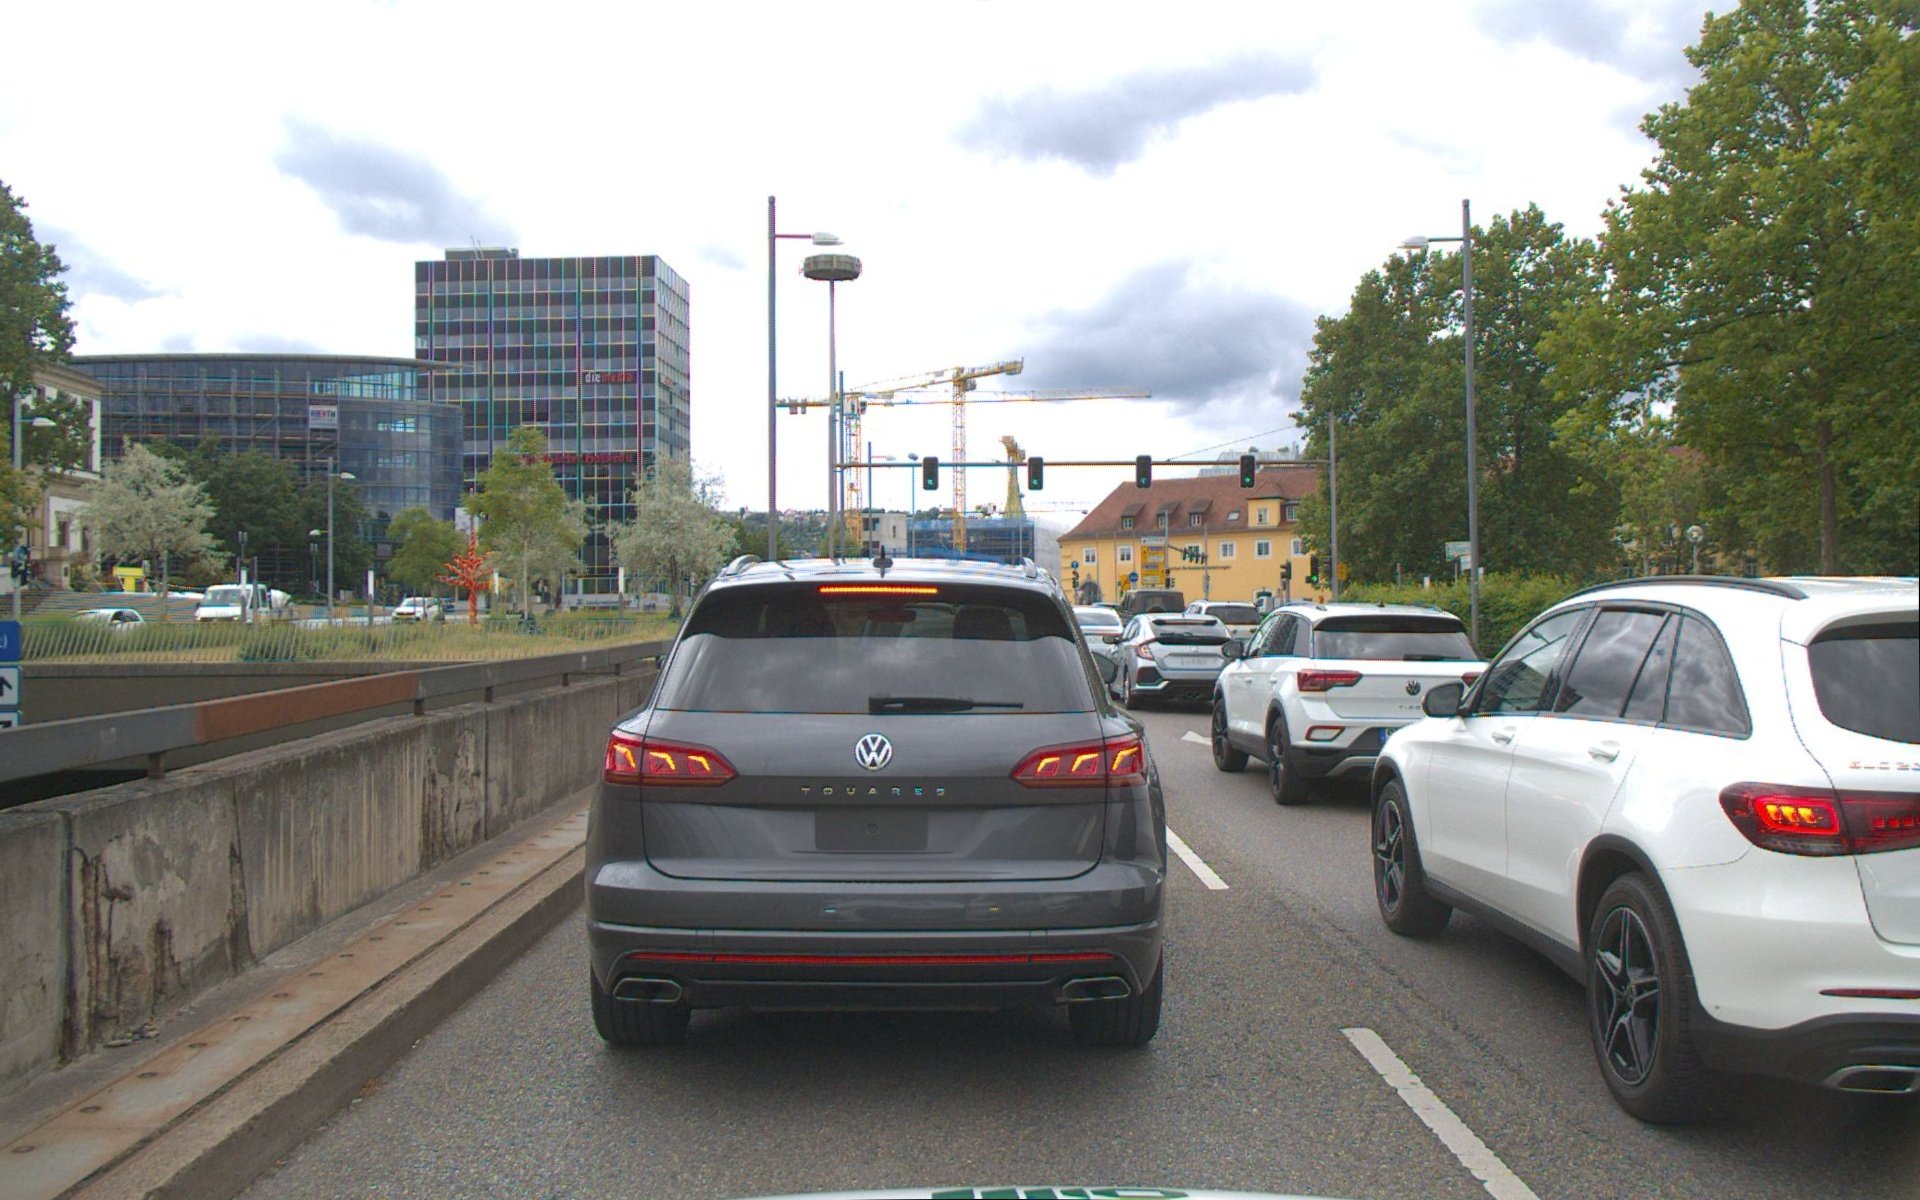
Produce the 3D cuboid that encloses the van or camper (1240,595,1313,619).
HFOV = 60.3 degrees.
[{"bbox_3d":[27.301,0.629,142.664,5.902,2.049,2.012,0,-1,35],"label":"van or camper"}]

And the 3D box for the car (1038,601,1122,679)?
[{"bbox_3d":[2.522,0.814,35.466,1.683,1.529,3.982,0,0,2],"label":"car"}]

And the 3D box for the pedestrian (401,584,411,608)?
[{"bbox_3d":[-39.499,-0.263,117.976,0.513,1.678,0.650,1,-1,-2],"label":"pedestrian"}]

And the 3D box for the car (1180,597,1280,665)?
[{"bbox_3d":[6.413,0.701,39.697,1.766,1.529,3.981,0,0,0],"label":"car"}]

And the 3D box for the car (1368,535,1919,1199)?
[{"bbox_3d":[2.961,0.673,6.243,1.781,1.676,4.379,0,0,0],"label":"car"}]

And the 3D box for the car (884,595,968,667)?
[{"bbox_3d":[-0.744,0.657,37.220,1.777,1.522,3.905,0,0,-1],"label":"car"}]

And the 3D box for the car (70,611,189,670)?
[{"bbox_3d":[-28.203,1.350,56.301,1.953,1.847,4.257,0,1,-1],"label":"car"}]

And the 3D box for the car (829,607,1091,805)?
[{"bbox_3d":[-0.028,0.801,14.343,1.953,1.411,3.999,0,1,-1],"label":"car"}]

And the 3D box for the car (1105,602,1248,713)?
[{"bbox_3d":[3.261,0.818,25.603,1.683,1.529,4.144,0,0,0],"label":"car"}]

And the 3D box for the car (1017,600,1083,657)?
[{"bbox_3d":[2.553,0.797,47.792,1.683,1.529,3.981,0,0,0],"label":"car"}]

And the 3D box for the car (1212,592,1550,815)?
[{"bbox_3d":[3.368,0.751,13.991,1.855,1.613,3.800,0,0,-1],"label":"car"}]

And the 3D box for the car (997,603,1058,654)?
[{"bbox_3d":[2.422,0.992,59.174,2.094,1.758,4.071,0,0,2],"label":"car"}]

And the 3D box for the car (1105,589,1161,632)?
[{"bbox_3d":[6.399,0.359,61.466,1.683,1.529,3.981,0,0,0],"label":"car"}]

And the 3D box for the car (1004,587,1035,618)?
[{"bbox_3d":[4.050,0.142,112.839,1.953,2.049,3.999,0,0,-1],"label":"car"}]

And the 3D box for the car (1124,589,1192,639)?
[{"bbox_3d":[6.230,0.419,52.422,1.683,1.529,3.981,0,0,0],"label":"car"}]

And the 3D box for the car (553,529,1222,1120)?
[{"bbox_3d":[-0.230,0.632,6.713,1.893,1.676,3.999,0,0,-1],"label":"car"}]

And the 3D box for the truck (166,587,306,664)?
[{"bbox_3d":[-28.651,0.931,65.821,2.413,2.865,7.079,0,1,0],"label":"truck"}]

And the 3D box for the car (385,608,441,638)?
[{"bbox_3d":[-31.935,1.312,96.661,1.683,1.602,4.613,0,1,0],"label":"car"}]

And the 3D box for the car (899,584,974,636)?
[{"bbox_3d":[-0.674,0.283,51.308,2.198,1.529,4.611,0,0,0],"label":"car"}]
